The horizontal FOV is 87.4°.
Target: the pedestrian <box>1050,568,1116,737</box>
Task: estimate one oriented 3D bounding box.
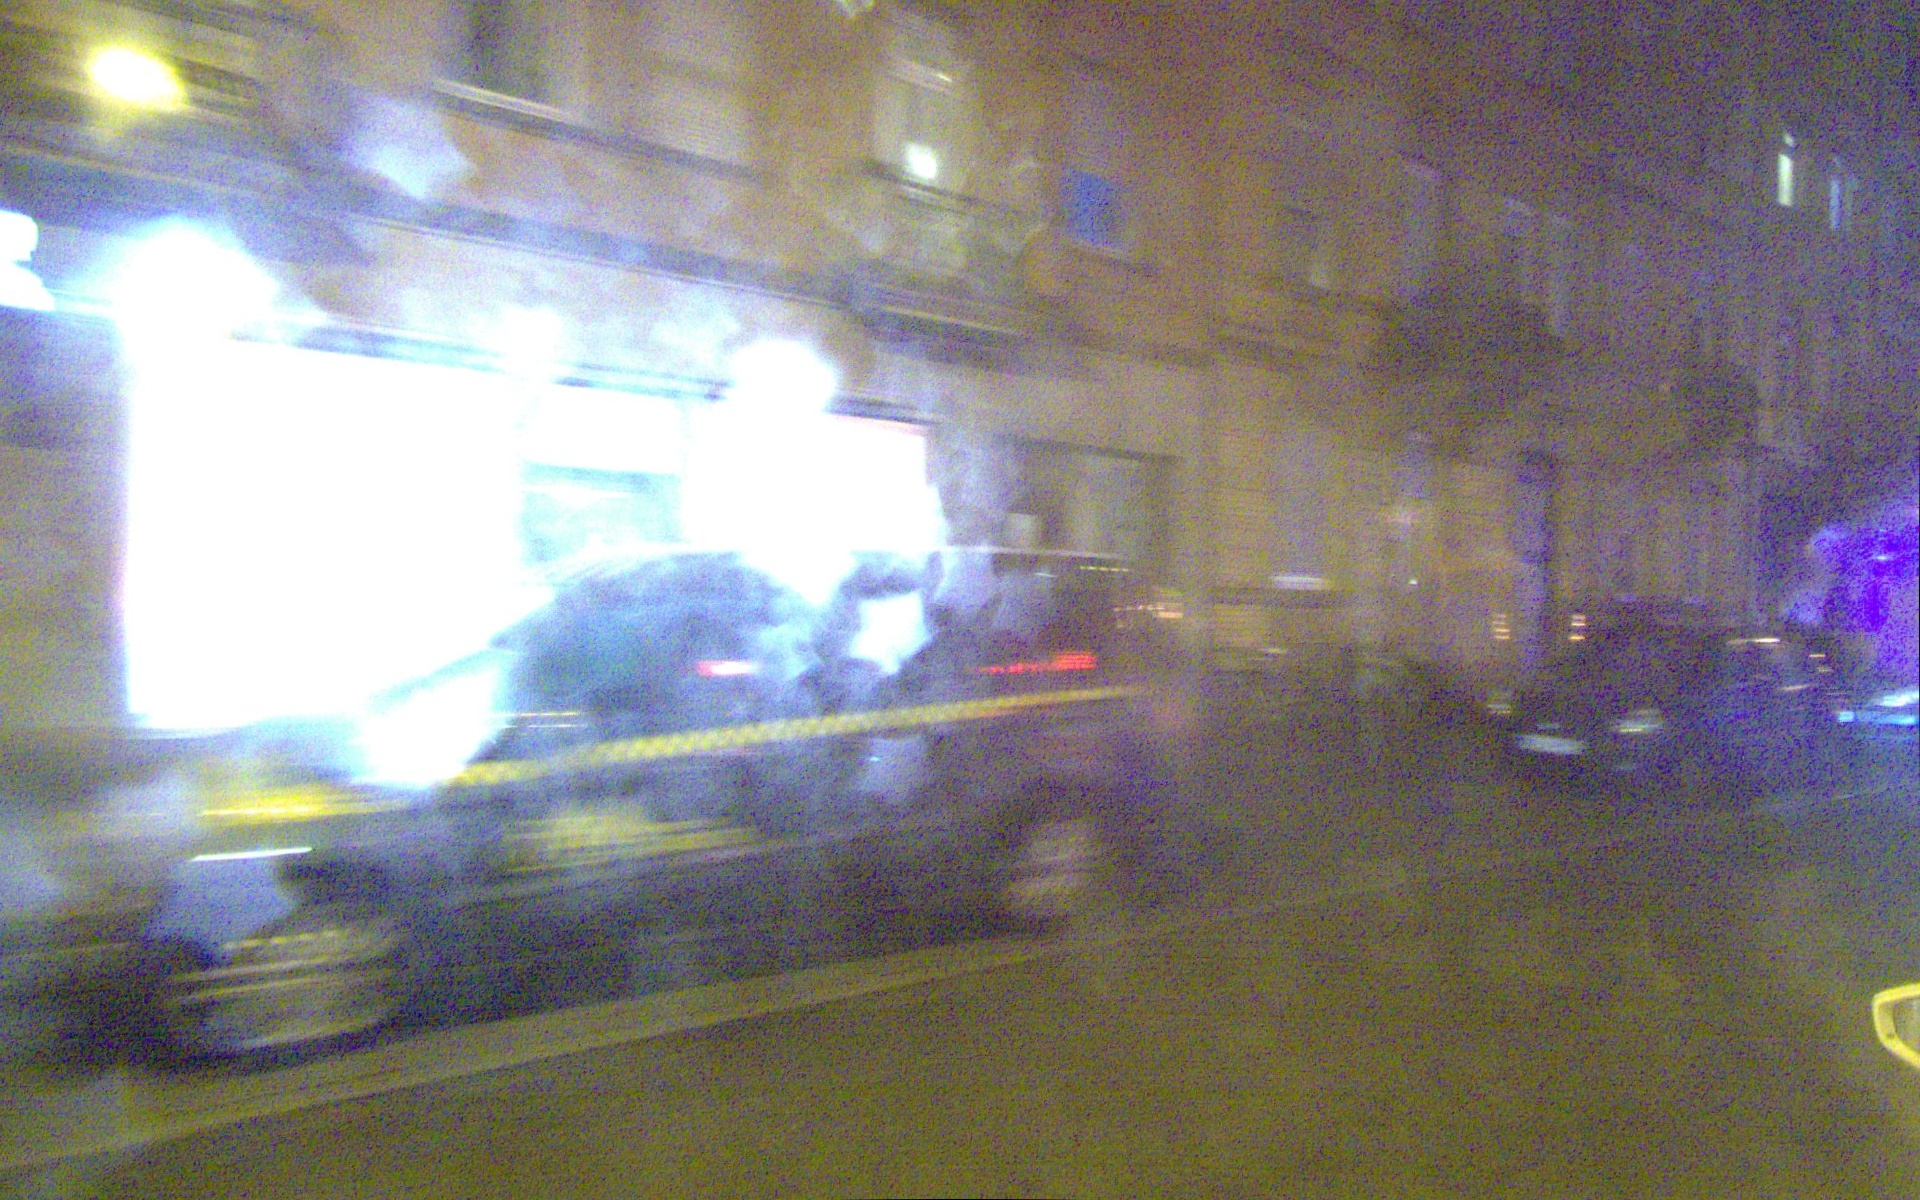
[{"bbox_3d":[1.355,0.568,11.144,0.454,1.812,0.592,0,-1,-26],"label":"pedestrian"}]

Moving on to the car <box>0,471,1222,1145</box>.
[{"bbox_3d":[-1.227,0.600,4.662,4.771,1.854,1.894,1,0,-30],"label":"car"}]

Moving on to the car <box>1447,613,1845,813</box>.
[{"bbox_3d":[6.318,0.890,9.184,3.675,1.479,1.562,1,0,-30],"label":"car"}]

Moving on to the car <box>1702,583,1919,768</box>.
[{"bbox_3d":[11.419,0.792,12.189,5.144,1.854,1.987,1,0,-30],"label":"car"}]
